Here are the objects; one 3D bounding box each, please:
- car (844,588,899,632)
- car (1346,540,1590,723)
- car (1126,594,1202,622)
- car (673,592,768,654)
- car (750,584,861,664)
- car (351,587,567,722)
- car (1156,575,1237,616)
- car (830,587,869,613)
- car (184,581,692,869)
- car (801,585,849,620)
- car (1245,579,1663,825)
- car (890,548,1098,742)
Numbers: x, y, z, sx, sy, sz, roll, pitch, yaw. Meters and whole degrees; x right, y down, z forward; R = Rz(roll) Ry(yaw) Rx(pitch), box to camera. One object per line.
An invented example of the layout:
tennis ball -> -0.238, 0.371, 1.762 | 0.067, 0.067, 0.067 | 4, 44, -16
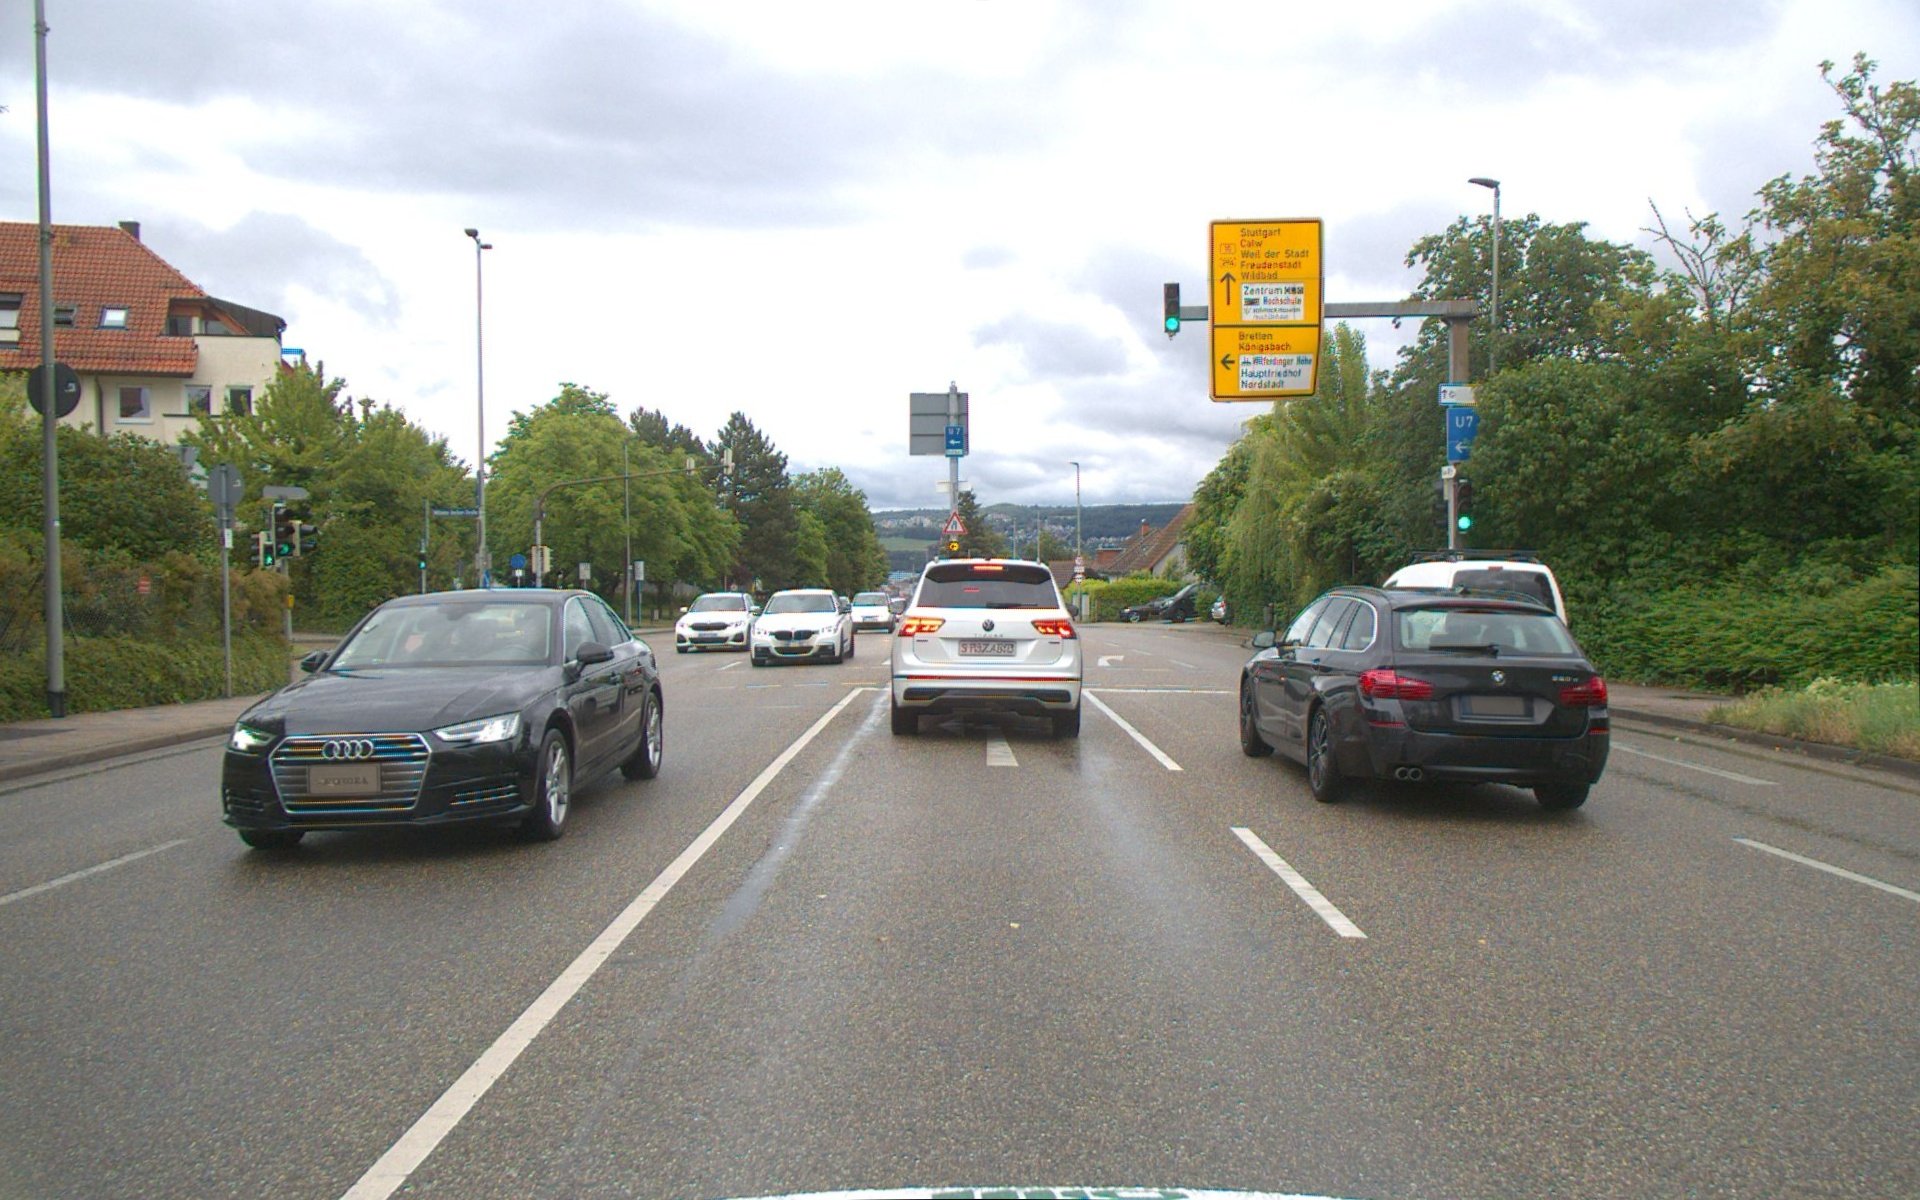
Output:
car -> -3.193, 0.350, 60.433 | 1.738, 1.484, 4.549 | -1, 1, 0
car -> 5.975, 0.275, 19.926 | 1.728, 1.909, 3.806 | 0, 3, 0
car -> 10.780, 0.396, 87.649 | 3.903, 1.400, 1.586 | 1, 1, 3
car -> -6.040, 0.539, 42.104 | 1.738, 1.409, 4.549 | -1, 1, 0
car -> -3.035, 0.432, 33.231 | 1.713, 1.409, 4.411 | -2, 1, 1
car -> -6.303, 0.626, 21.207 | 1.599, 1.481, 3.702 | -2, 1, -1
car -> 11.814, -0.246, 82.838 | 3.903, 1.990, 1.586 | 1, 0, 3
car -> -5.679, -0.027, 85.062 | 1.616, 1.295, 3.622 | -1, 1, 2
car -> -3.054, 0.624, 10.716 | 1.854, 1.428, 4.265 | -2, 1, 1
car -> -5.927, 0.086, 73.024 | 1.738, 1.484, 4.549 | -1, 1, 0
car -> 3.399, 0.605, 12.228 | 1.860, 1.466, 4.000 | 1, 1, 0
car -> 0.301, 0.382, 16.604 | 1.830, 1.703, 4.000 | 0, 0, 0
